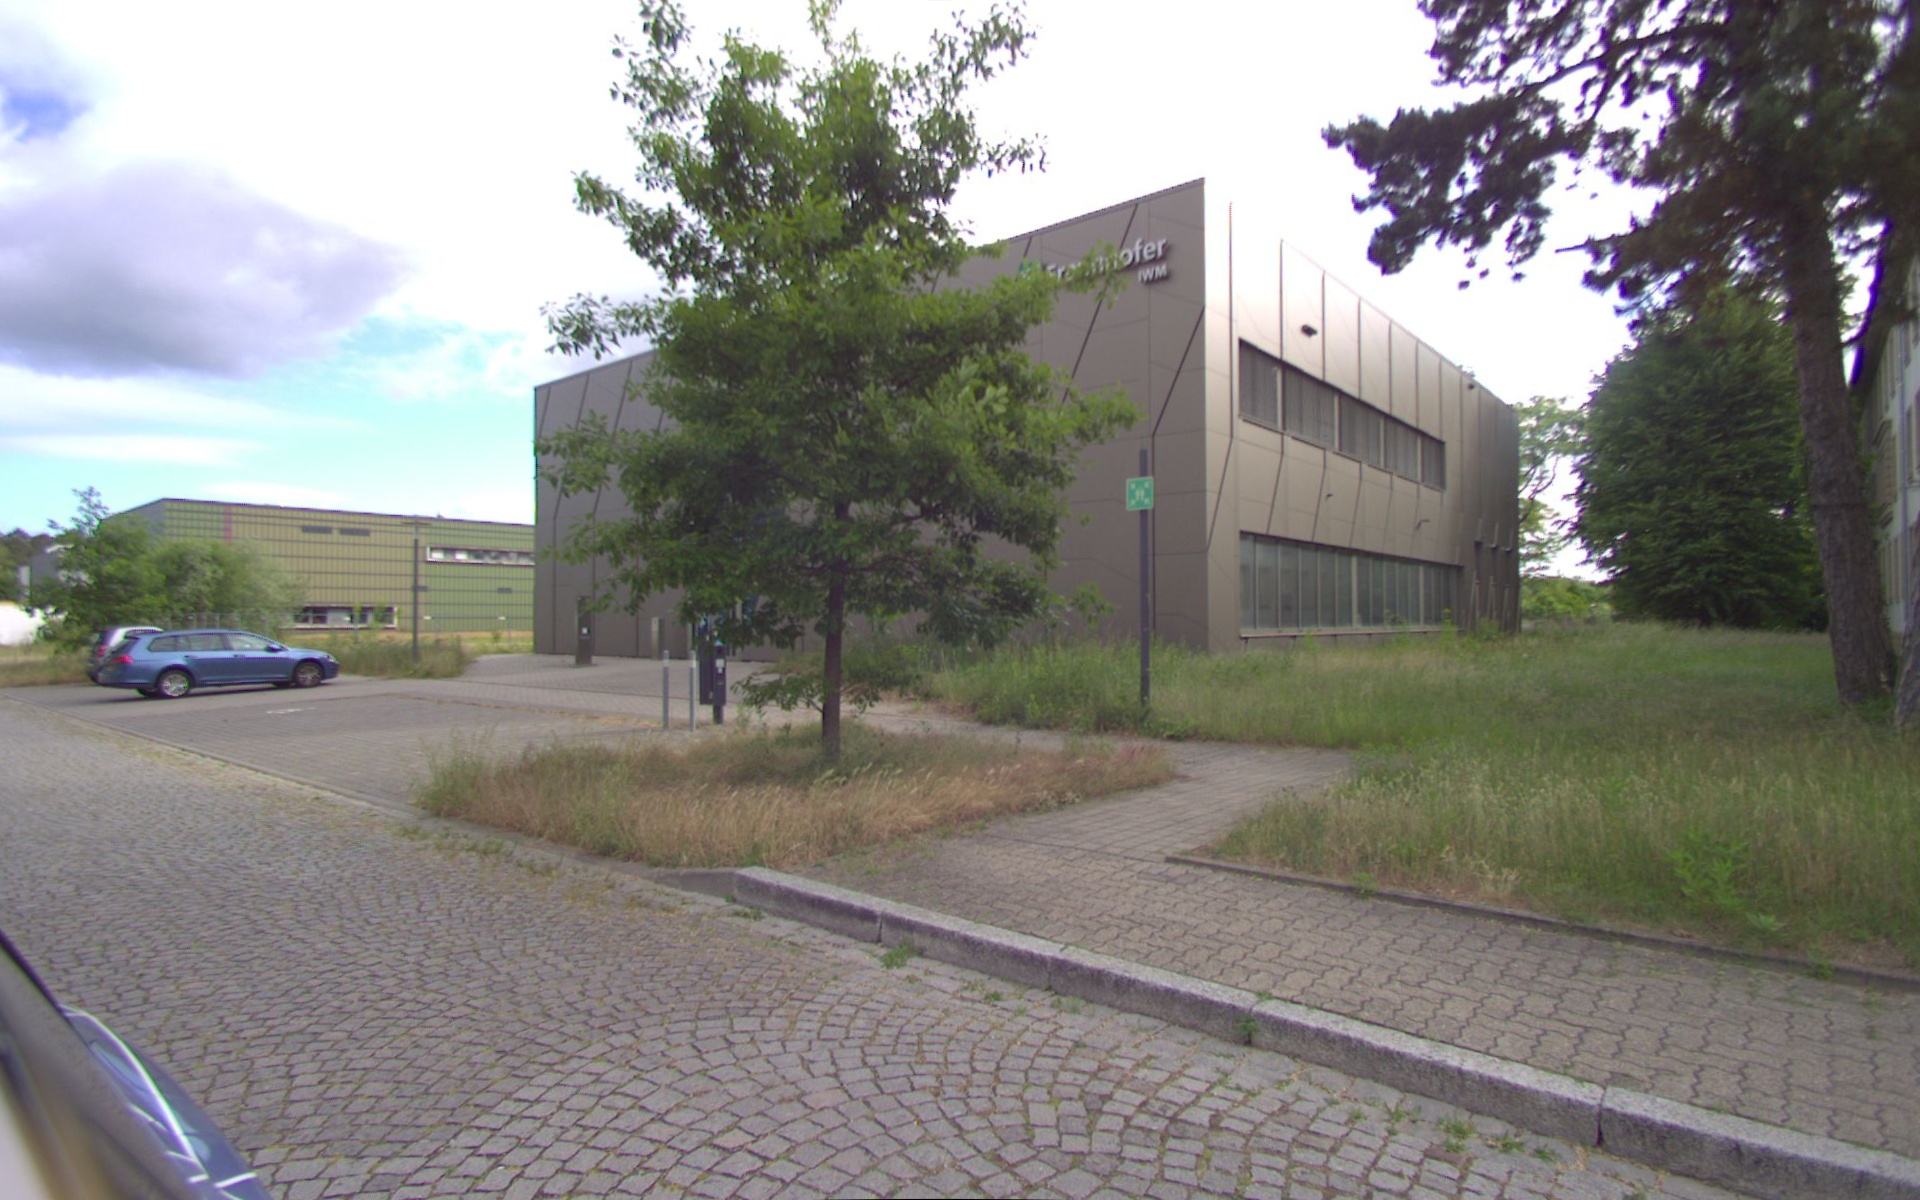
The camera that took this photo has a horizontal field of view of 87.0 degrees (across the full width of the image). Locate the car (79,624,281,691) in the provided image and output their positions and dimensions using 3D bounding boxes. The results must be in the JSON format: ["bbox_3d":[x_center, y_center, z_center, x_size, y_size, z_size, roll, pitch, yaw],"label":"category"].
[{"bbox_3d":[-22.030,1.554,28.685,4.341,1.557,1.843,-2,0,-44],"label":"car"}]

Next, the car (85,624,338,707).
[{"bbox_3d":[-17.033,1.409,23.225,1.714,1.521,4.352,-2,1,37],"label":"car"}]
